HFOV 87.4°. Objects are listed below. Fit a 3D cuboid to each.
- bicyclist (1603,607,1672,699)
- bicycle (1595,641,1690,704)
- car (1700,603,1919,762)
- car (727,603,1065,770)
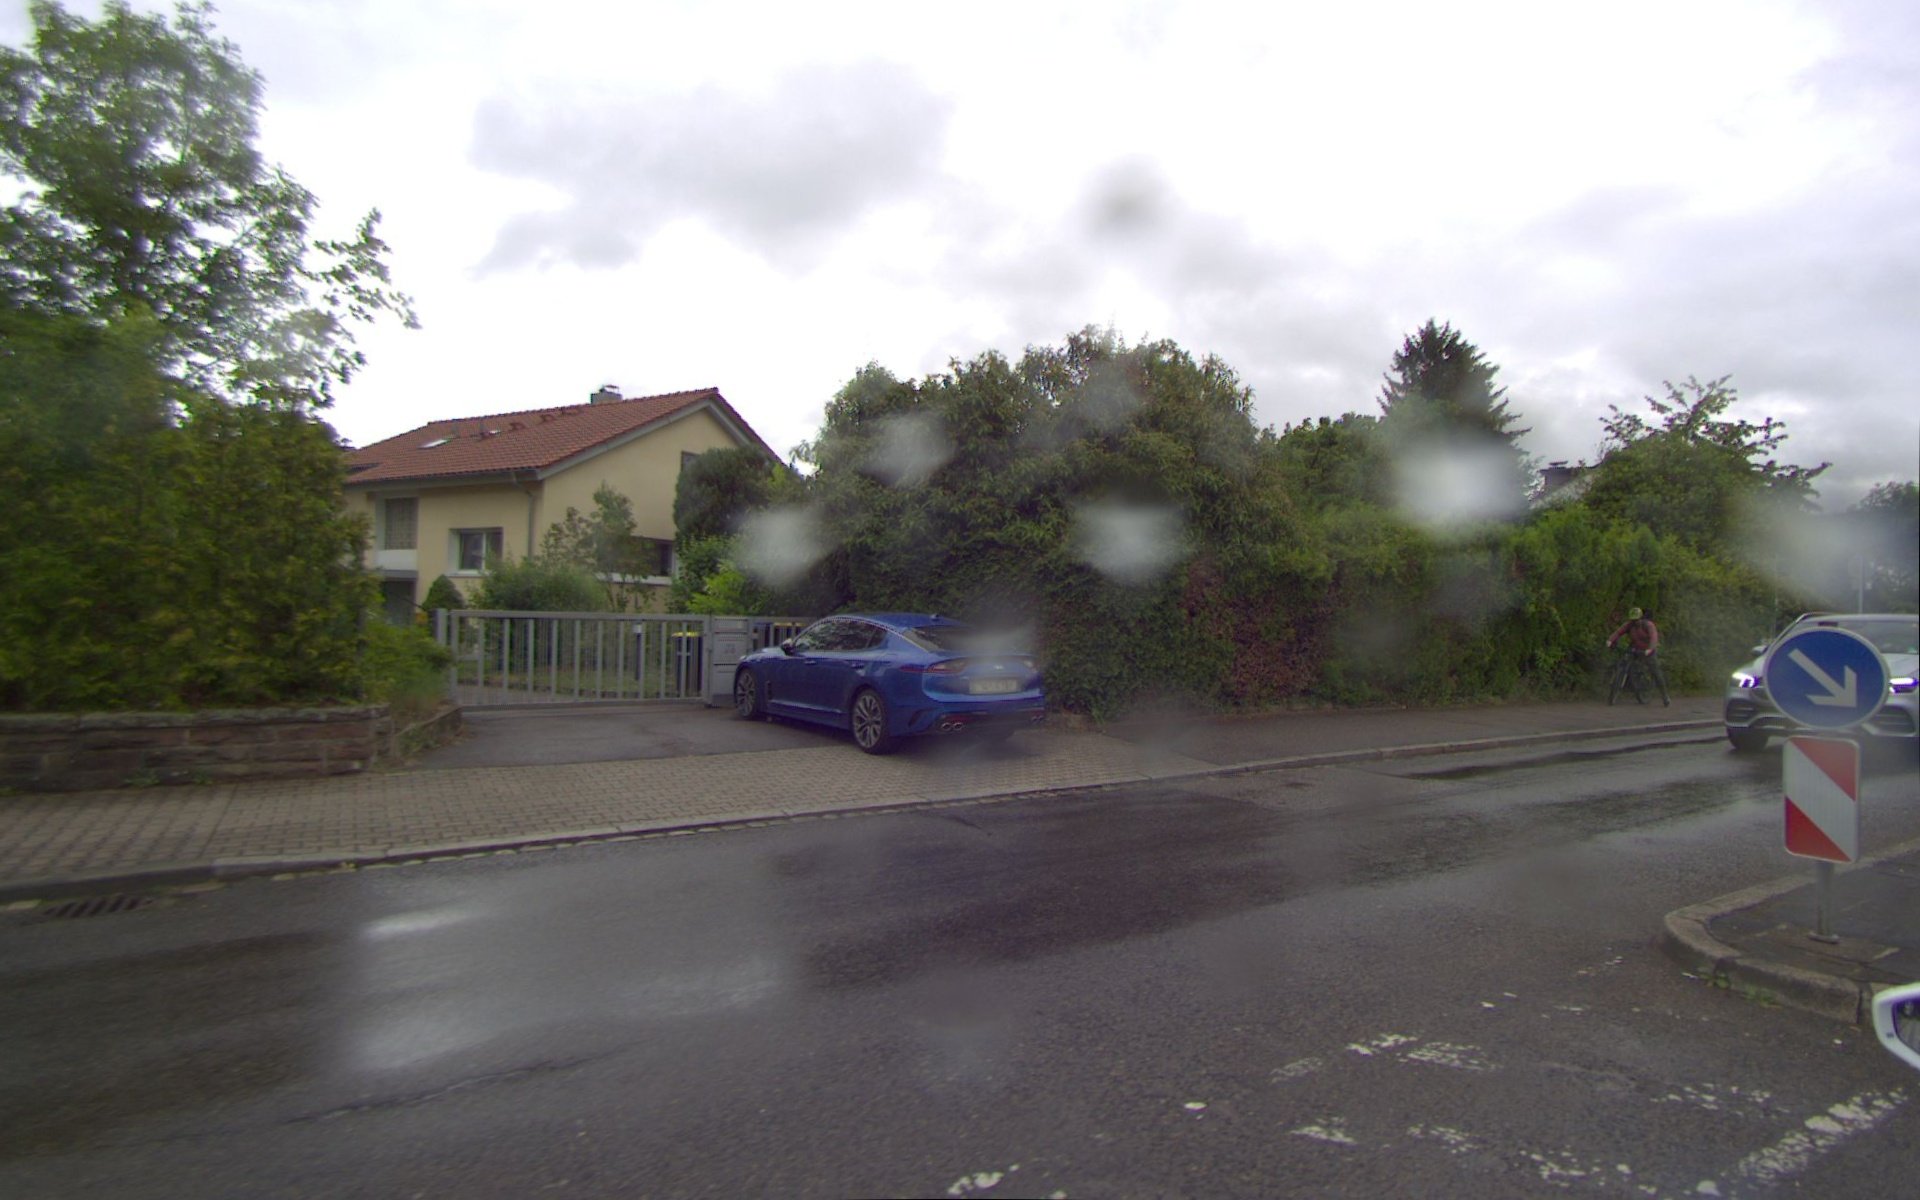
[{"bbox_3d":[12.589,0.969,18.677,0.859,1.633,0.760,1,0,-32],"label":"bicyclist"},{"bbox_3d":[12.808,1.338,18.827,1.968,1.101,0.742,2,0,-33],"label":"bicycle"},{"bbox_3d":[11.742,0.952,13.140,4.437,1.739,2.028,1,-2,-35],"label":"car"},{"bbox_3d":[-0.956,0.811,11.662,1.788,1.380,4.449,-1,2,-37],"label":"car"}]
